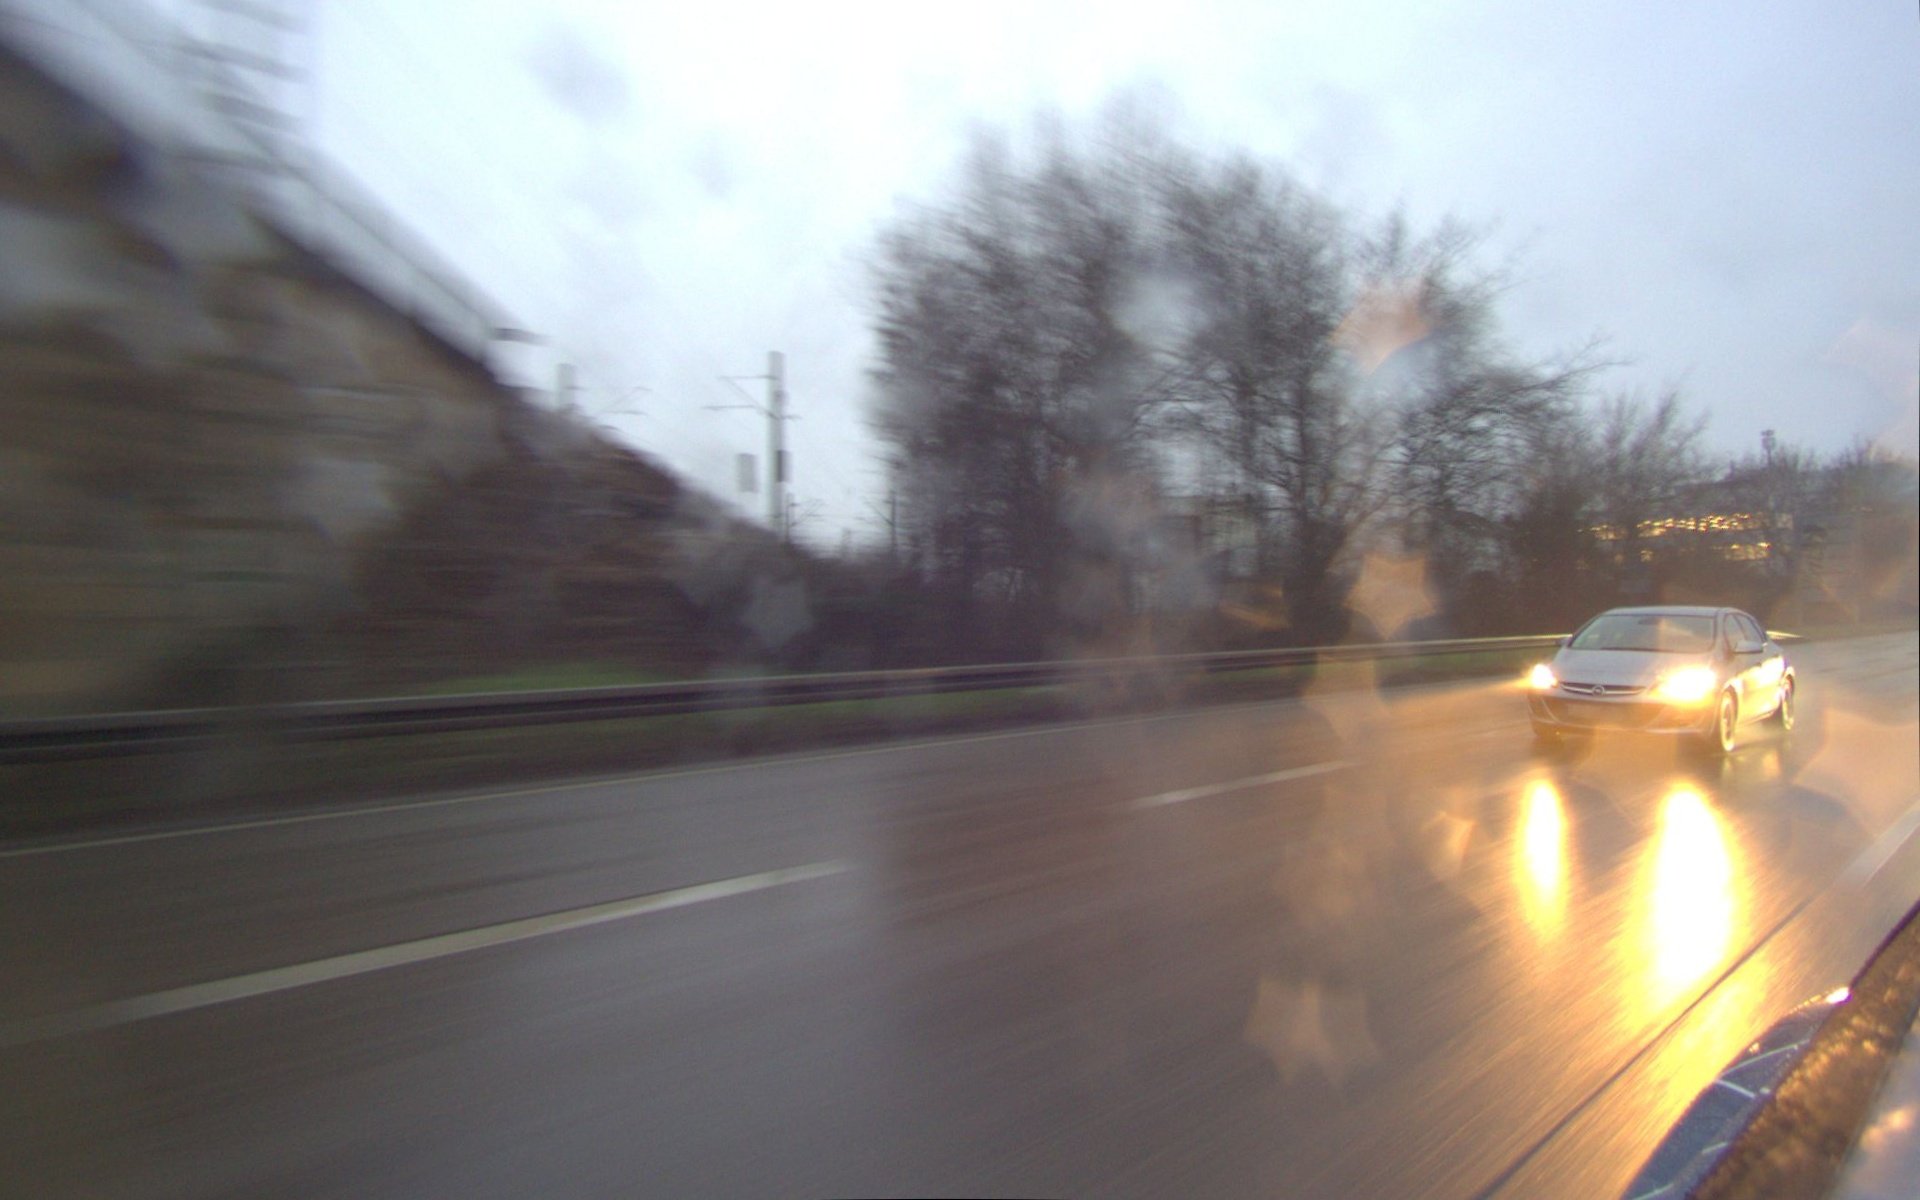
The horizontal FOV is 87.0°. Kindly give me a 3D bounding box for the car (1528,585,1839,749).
[{"bbox_3d":[8.525,0.650,11.805,4.186,1.521,1.853,-2,-1,-39],"label":"car"}]
